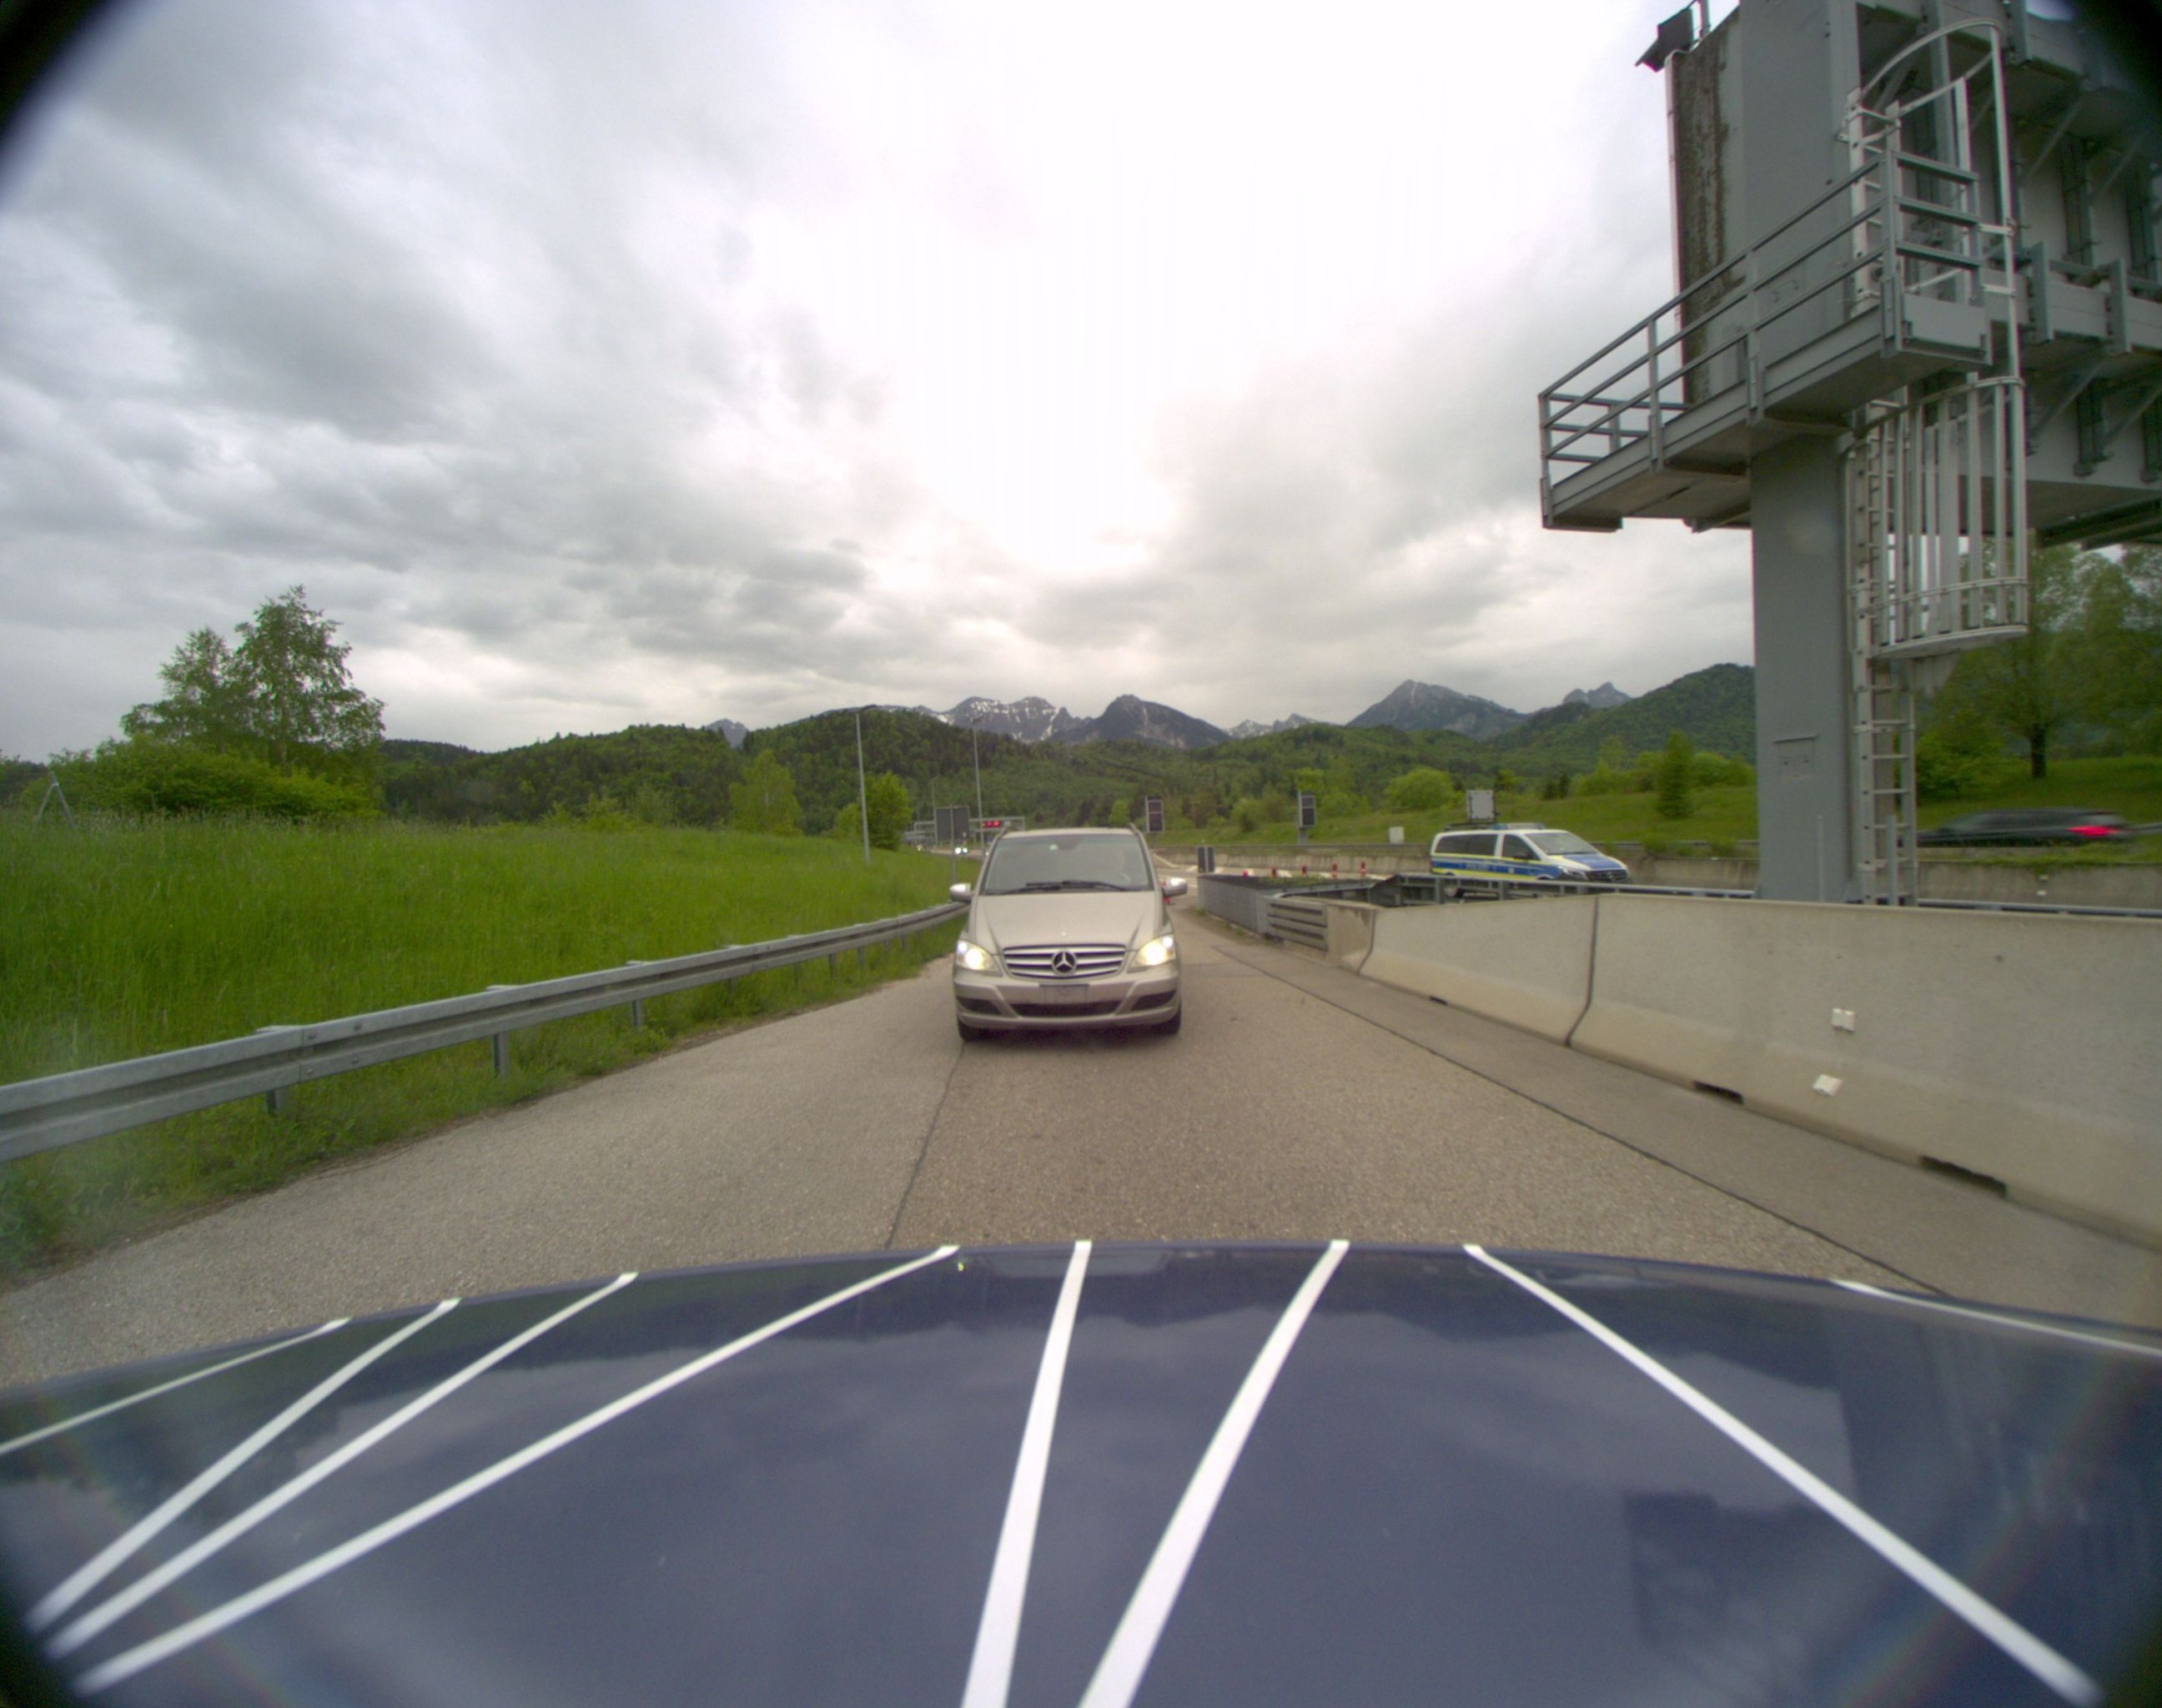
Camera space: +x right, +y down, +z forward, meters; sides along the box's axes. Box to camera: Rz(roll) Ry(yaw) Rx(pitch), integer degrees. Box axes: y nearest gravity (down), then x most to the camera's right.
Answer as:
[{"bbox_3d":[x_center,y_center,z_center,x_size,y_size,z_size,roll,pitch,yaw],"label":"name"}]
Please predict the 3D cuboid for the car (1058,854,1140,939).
[{"bbox_3d":[0.407,0.844,17.214,1.591,1.662,4.000,-1,0,1],"label":"car"}]

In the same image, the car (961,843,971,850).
[{"bbox_3d":[-25.454,-1.630,168.259,1.722,1.629,4.343,-1,1,-13],"label":"car"}]

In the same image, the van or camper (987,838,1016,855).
[{"bbox_3d":[-12.870,-1.213,122.039,3.345,2.629,8.189,-1,1,-15],"label":"van or camper"}]

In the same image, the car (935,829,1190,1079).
[{"bbox_3d":[-0.102,0.707,8.443,1.862,1.833,5.616,-1,1,1],"label":"car"}]

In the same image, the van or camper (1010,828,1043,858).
[{"bbox_3d":[-6.493,-1.247,89.773,2.585,3.372,7.345,-2,1,-14],"label":"van or camper"}]

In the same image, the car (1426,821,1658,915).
[{"bbox_3d":[11.331,0.276,19.216,2.106,2.002,5.045,-2,1,-13],"label":"car"}]

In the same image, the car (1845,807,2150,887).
[{"bbox_3d":[25.293,-0.205,21.336,1.992,1.944,5.102,-1,1,-15],"label":"car"}]

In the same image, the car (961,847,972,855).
[{"bbox_3d":[-25.079,-0.673,166.370,1.868,1.861,3.995,-1,1,-14],"label":"car"}]
